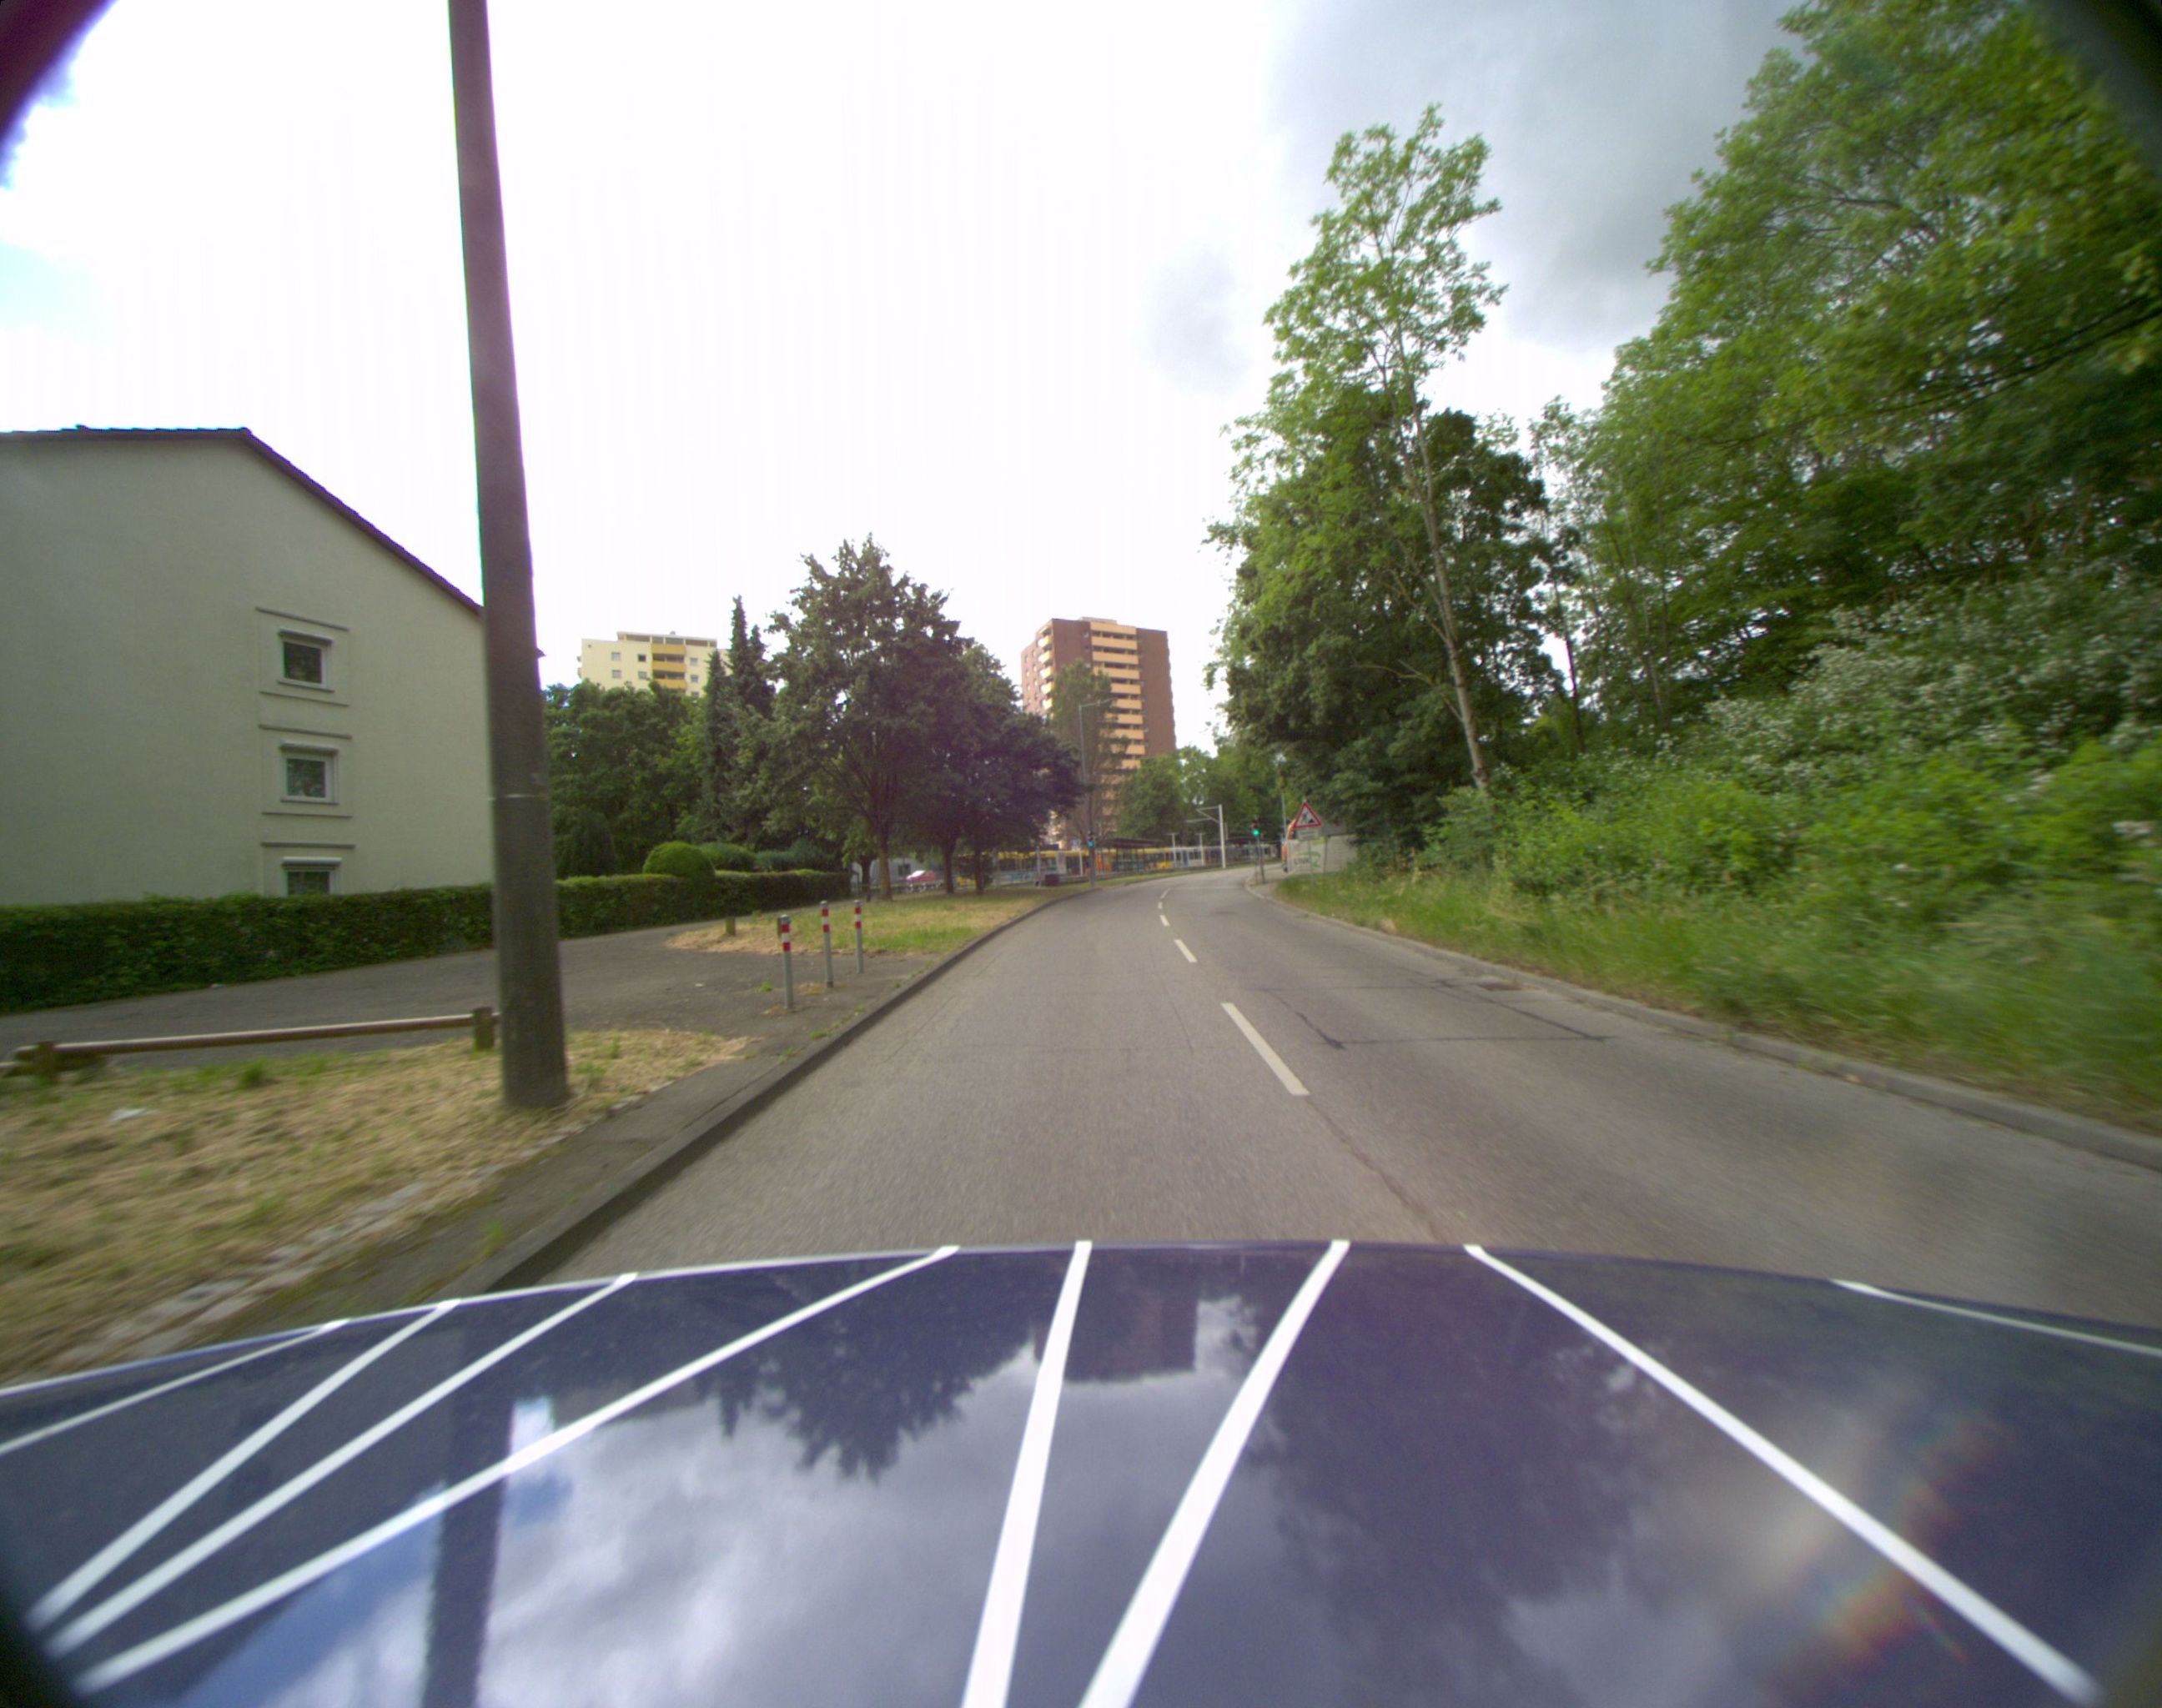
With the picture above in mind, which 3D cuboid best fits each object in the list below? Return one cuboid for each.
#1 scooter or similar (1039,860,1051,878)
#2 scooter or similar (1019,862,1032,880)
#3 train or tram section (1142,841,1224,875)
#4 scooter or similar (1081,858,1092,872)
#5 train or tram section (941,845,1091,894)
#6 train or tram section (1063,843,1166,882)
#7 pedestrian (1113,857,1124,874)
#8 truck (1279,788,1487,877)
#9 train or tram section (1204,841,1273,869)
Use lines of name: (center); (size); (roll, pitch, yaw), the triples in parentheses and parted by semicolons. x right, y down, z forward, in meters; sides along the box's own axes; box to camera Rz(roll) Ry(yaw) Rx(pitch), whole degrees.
scooter or similar: (-2.714, 1.125, 57.607); (0.430, 1.246, 1.256); (-4, 1, 19)
scooter or similar: (-4.108, 1.257, 56.296); (0.430, 1.246, 1.256); (-4, 1, 16)
train or tram section: (14.087, 0.398, 101.970); (2.816, 3.775, 18.968); (-6, -2, 33)
scooter or similar: (0.489, 1.002, 67.840); (0.368, 1.234, 1.148); (-5, -1, 28)
train or tram section: (-5.032, 1.130, 67.671); (2.816, 3.566, 19.548); (-6, -2, 28)
train or tram section: (4.305, 0.747, 85.198); (2.816, 3.713, 19.548); (-6, -2, 29)
pedestrian: (3.674, 1.123, 74.063); (0.666, 1.563, 0.623); (-4, 0, -44)
truck: (14.881, -1.008, 38.225); (9.246, 3.510, 2.567); (-5, 0, 13)
train or tram section: (24.735, 0.033, 117.606); (2.816, 3.713, 18.567); (-7, -2, 36)
